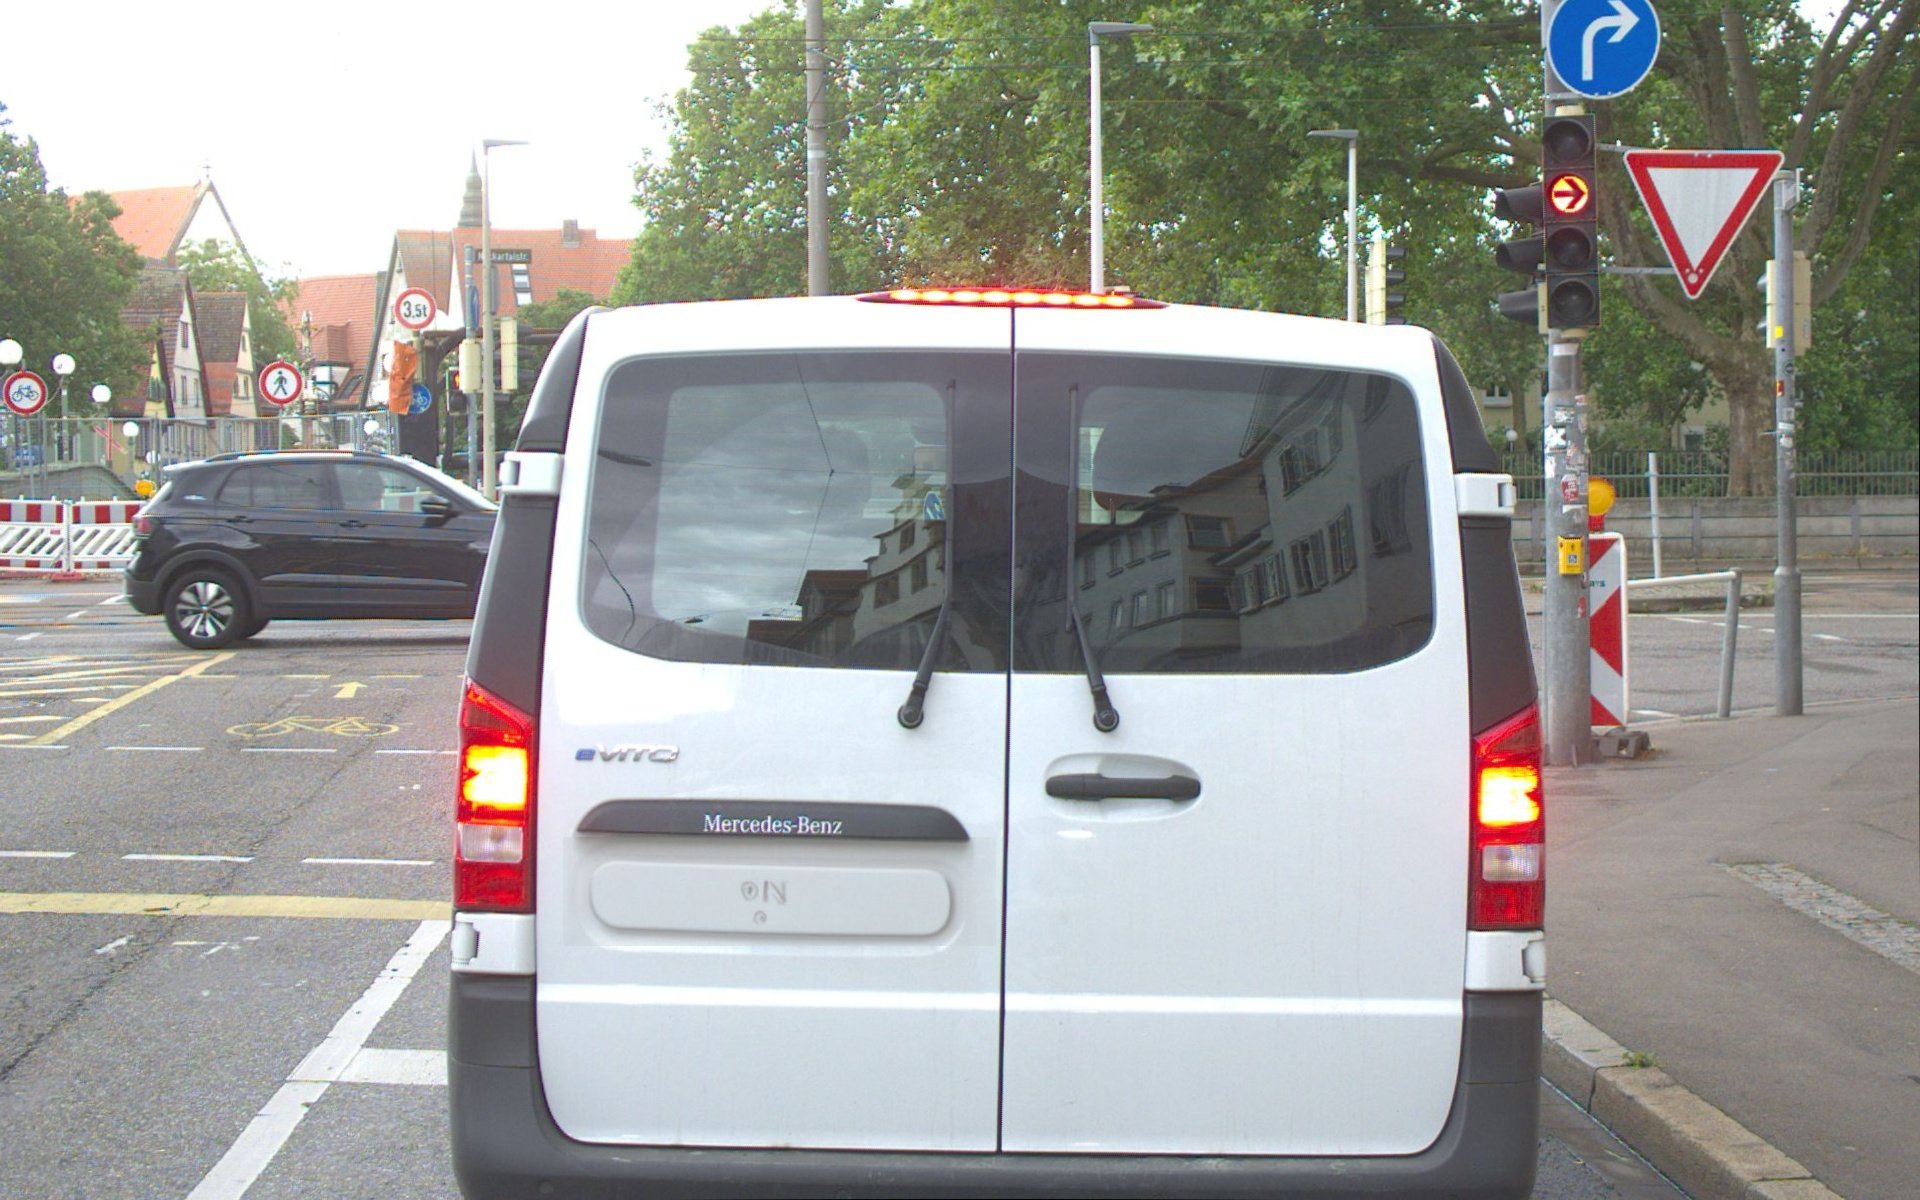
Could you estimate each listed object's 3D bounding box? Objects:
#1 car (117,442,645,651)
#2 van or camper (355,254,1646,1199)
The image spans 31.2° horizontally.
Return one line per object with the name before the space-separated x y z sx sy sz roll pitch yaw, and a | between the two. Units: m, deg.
car | -4.661 -0.467 28.171 4.069 1.568 1.829 -1 3 -4
van or camper | -0.077 0.345 7.430 1.937 1.918 4.442 1 3 -4
